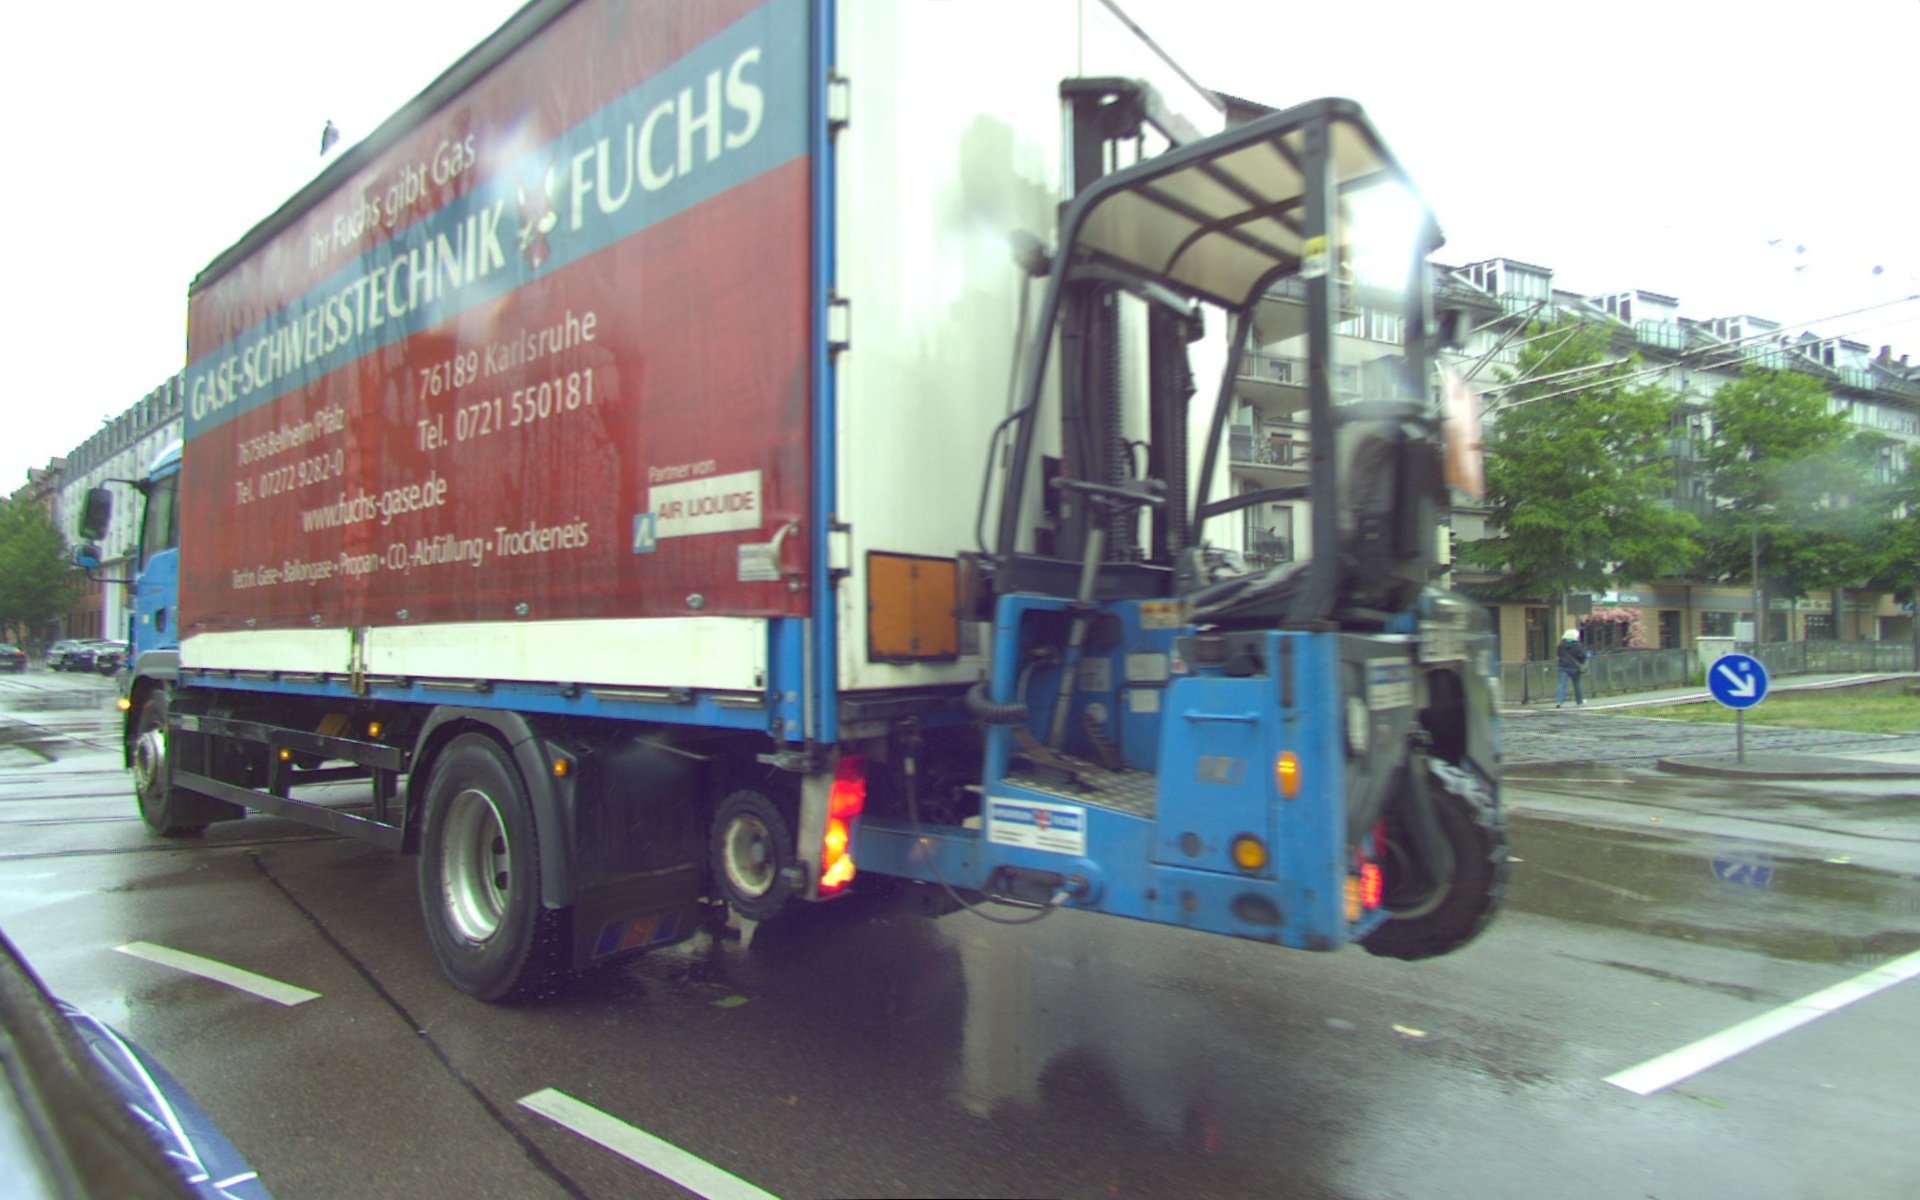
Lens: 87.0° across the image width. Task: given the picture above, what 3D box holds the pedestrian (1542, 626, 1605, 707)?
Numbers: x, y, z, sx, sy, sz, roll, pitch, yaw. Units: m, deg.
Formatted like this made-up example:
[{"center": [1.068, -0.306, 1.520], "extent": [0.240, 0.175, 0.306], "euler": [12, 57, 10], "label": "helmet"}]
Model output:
[{"center": [13.072, 1.412, 21.573], "extent": [0.743, 1.661, 0.840], "euler": [2, -4, -28], "label": "pedestrian"}]

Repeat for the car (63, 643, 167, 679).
[{"center": [-42.749, 3.045, 51.312], "extent": [1.881, 1.539, 3.715], "euler": [0, 0, 10], "label": "car"}]

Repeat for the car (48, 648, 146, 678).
[{"center": [-44.928, 3.270, 52.807], "extent": [1.697, 1.539, 3.720], "euler": [0, -3, 6], "label": "car"}]

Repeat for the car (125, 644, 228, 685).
[{"center": [-33.657, 2.736, 43.578], "extent": [1.608, 1.556, 3.438], "euler": [-2, -1, 5], "label": "car"}]

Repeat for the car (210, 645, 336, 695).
[{"center": [-24.154, 2.424, 35.766], "extent": [1.681, 1.545, 3.991], "euler": [-2, -2, 2], "label": "car"}]

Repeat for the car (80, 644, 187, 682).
[{"center": [-38.364, 2.903, 47.103], "extent": [1.757, 1.556, 3.720], "euler": [-2, -1, 6], "label": "car"}]

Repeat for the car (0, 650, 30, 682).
[{"center": [-47.908, 3.276, 50.529], "extent": [3.776, 1.558, 1.725], "euler": [-2, -4, 41], "label": "car"}]

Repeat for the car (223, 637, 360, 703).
[{"center": [-22.153, 2.278, 33.744], "extent": [1.779, 1.518, 4.000], "euler": [-5, 4, 1], "label": "car"}]

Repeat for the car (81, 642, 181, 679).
[{"center": [-40.523, 2.934, 49.590], "extent": [1.755, 1.639, 3.723], "euler": [-2, -1, 3], "label": "car"}]

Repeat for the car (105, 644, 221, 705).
[{"center": [-22.144, 2.008, 28.069], "extent": [4.338, 1.558, 1.708], "euler": [-2, -4, 41], "label": "car"}]

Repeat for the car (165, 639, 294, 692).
[{"center": [-26.794, 2.369, 37.283], "extent": [1.740, 1.705, 4.082], "euler": [-2, -1, 2], "label": "car"}]

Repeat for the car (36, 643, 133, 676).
[{"center": [-47.290, 3.213, 54.790], "extent": [1.791, 1.743, 3.922], "euler": [0, -3, 0], "label": "car"}]

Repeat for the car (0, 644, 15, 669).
[{"center": [-69.200, 3.947, 70.828], "extent": [1.981, 1.828, 3.980], "euler": [0, -3, 15], "label": "car"}]

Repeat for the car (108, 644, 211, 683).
[{"center": [-35.842, 2.805, 45.445], "extent": [1.606, 1.556, 3.757], "euler": [-2, -1, 1], "label": "car"}]

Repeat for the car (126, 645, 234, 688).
[{"center": [-31.541, 2.658, 41.030], "extent": [1.678, 1.556, 3.427], "euler": [-2, -1, 2], "label": "car"}]

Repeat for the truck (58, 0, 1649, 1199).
[{"center": [-2.298, -0.541, 6.006], "extent": [10.304, 4.056, 2.817], "euler": [-2, -4, 39], "label": "truck"}]
